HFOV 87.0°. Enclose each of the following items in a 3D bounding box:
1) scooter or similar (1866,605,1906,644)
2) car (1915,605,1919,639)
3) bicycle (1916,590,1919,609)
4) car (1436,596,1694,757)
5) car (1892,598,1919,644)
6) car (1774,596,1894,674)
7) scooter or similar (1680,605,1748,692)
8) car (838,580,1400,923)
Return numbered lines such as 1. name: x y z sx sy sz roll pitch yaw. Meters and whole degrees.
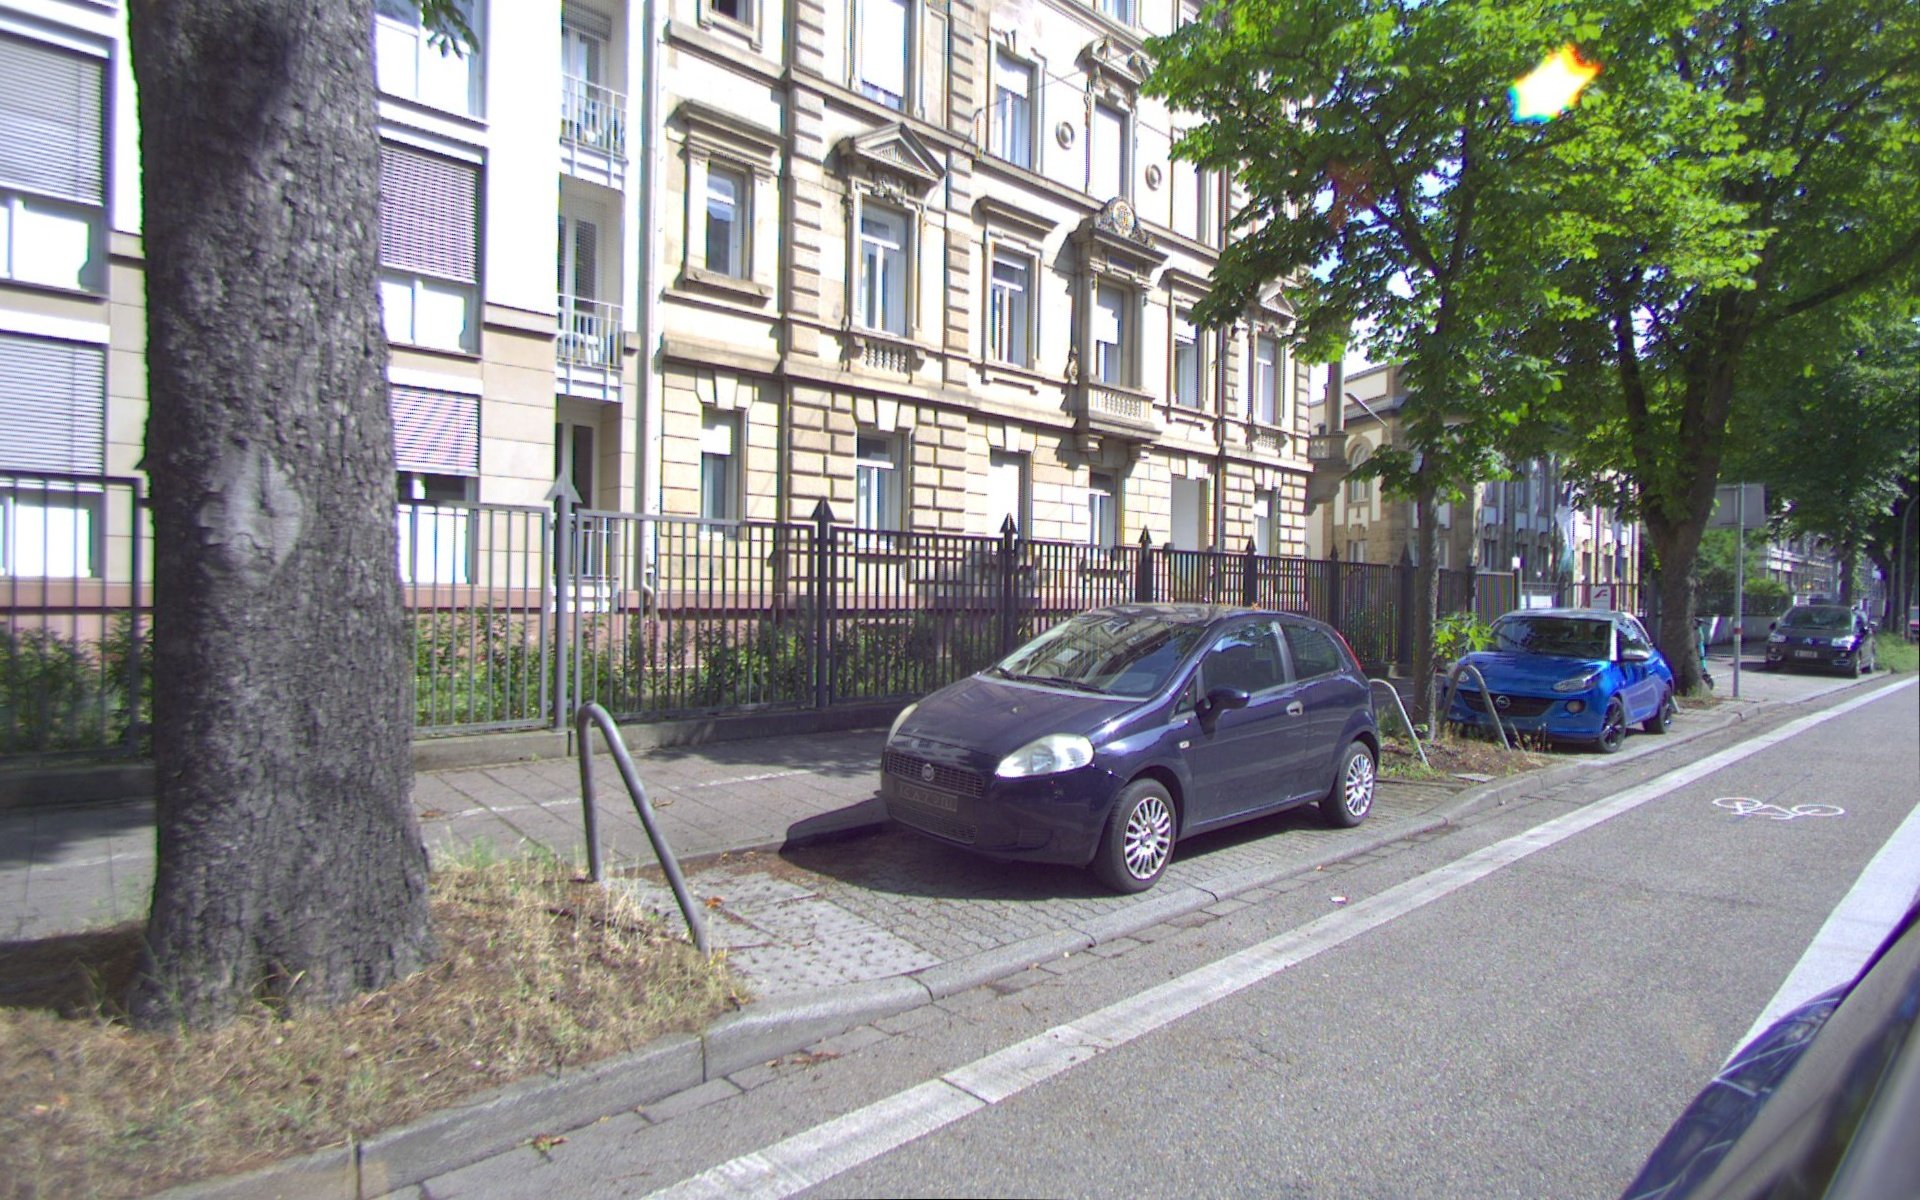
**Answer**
1. scooter or similar: 31.290 0.837 34.188 1.233 1.252 0.343 2 3 -17
2. car: 43.050 1.001 44.387 1.601 1.446 3.539 6 4 44
3. bicycle: 54.855 -0.014 56.532 0.643 1.053 2.005 1 2 -20
4. car: 7.113 0.750 11.769 3.566 1.514 1.642 0 2 -44
5. car: 37.635 0.832 39.282 4.211 1.697 1.878 0 2 -44
6. car: 20.974 0.763 24.231 4.132 1.610 1.699 0 3 -43
7. scooter or similar: 12.303 0.768 16.534 0.436 1.315 1.176 4 1 17
8. car: 1.205 0.687 6.495 3.695 1.514 1.641 0 2 -44
